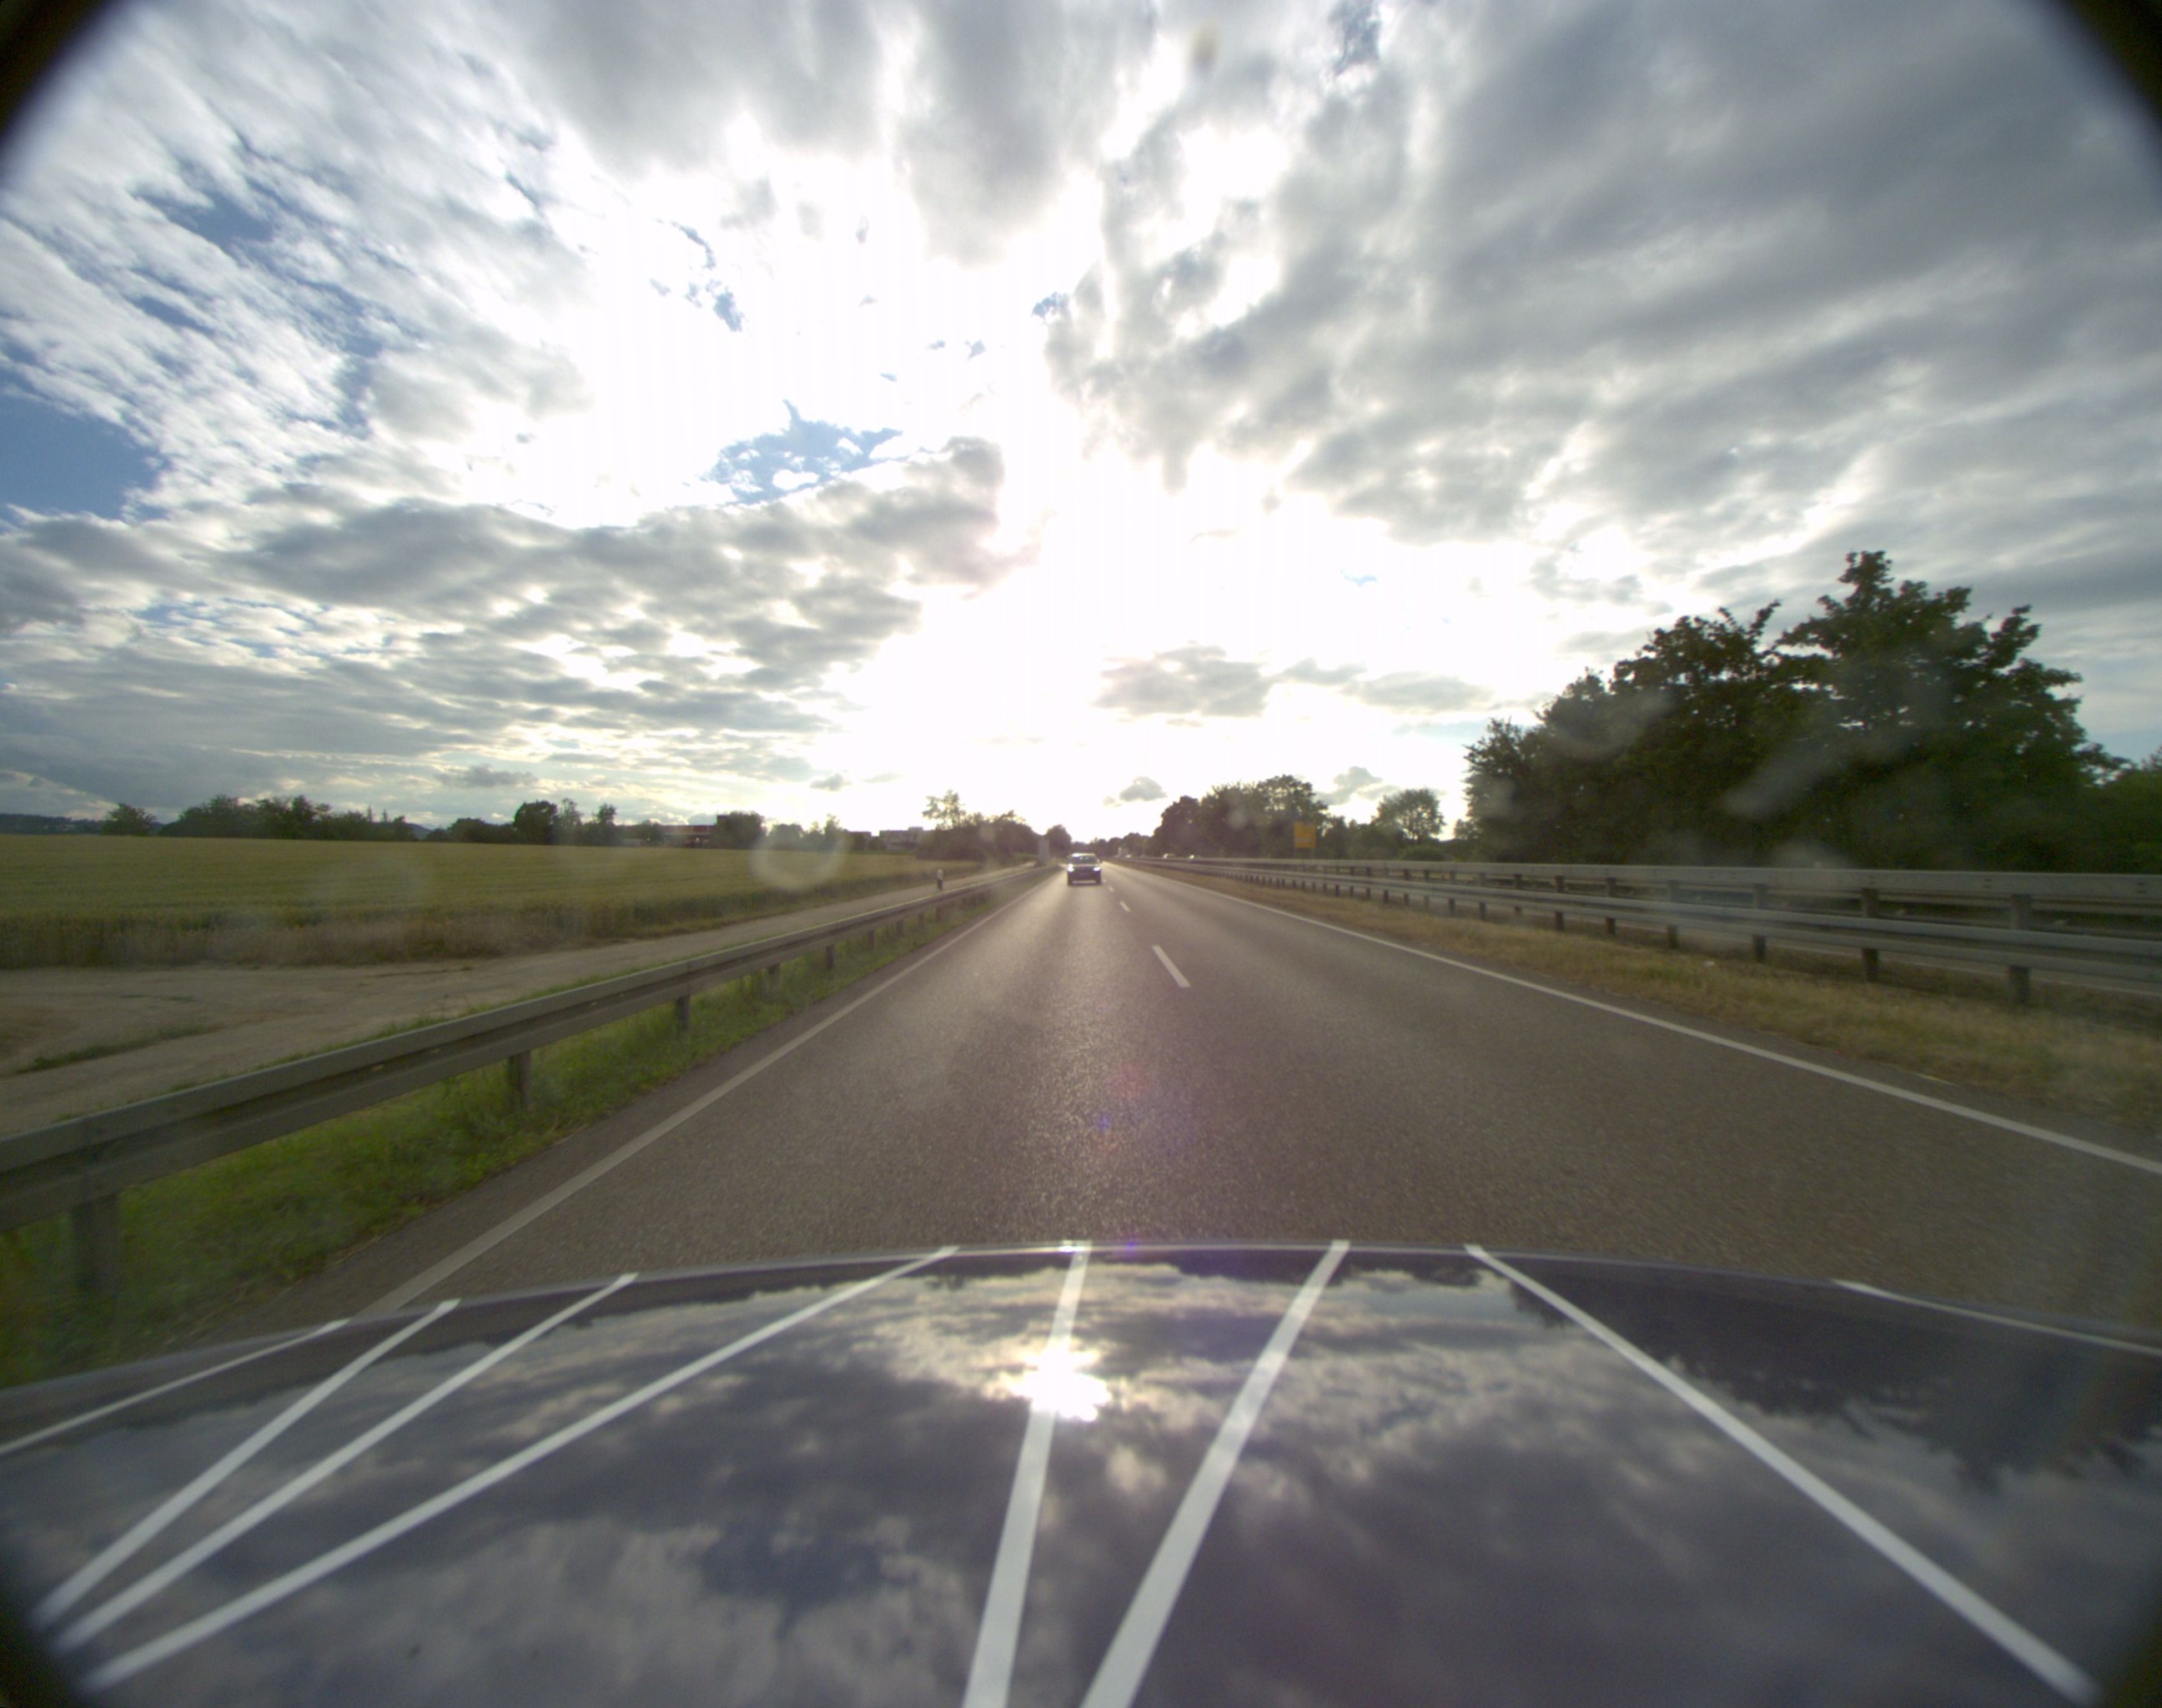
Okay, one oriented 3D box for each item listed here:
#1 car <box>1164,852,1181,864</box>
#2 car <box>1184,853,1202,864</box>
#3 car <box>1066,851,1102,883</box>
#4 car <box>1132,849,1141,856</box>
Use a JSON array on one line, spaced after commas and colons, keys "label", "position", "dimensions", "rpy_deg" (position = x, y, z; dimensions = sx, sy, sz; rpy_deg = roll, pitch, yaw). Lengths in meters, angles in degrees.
[{"label": "car", "position": [12.920, 0.481, 107.398], "dimensions": [1.803, 1.605, 4.375], "rpy_deg": [1, 0, 0]}, {"label": "car", "position": [16.550, 0.631, 112.621], "dimensions": [1.911, 1.470, 4.461], "rpy_deg": [-2, 0, 0]}, {"label": "car", "position": [0.186, 0.698, 42.303], "dimensions": [1.863, 1.636, 4.000], "rpy_deg": [-2, 1, 1]}, {"label": "car", "position": [13.763, -0.455, 188.109], "dimensions": [1.937, 1.626, 4.375], "rpy_deg": [-1, 0, 0]}]
